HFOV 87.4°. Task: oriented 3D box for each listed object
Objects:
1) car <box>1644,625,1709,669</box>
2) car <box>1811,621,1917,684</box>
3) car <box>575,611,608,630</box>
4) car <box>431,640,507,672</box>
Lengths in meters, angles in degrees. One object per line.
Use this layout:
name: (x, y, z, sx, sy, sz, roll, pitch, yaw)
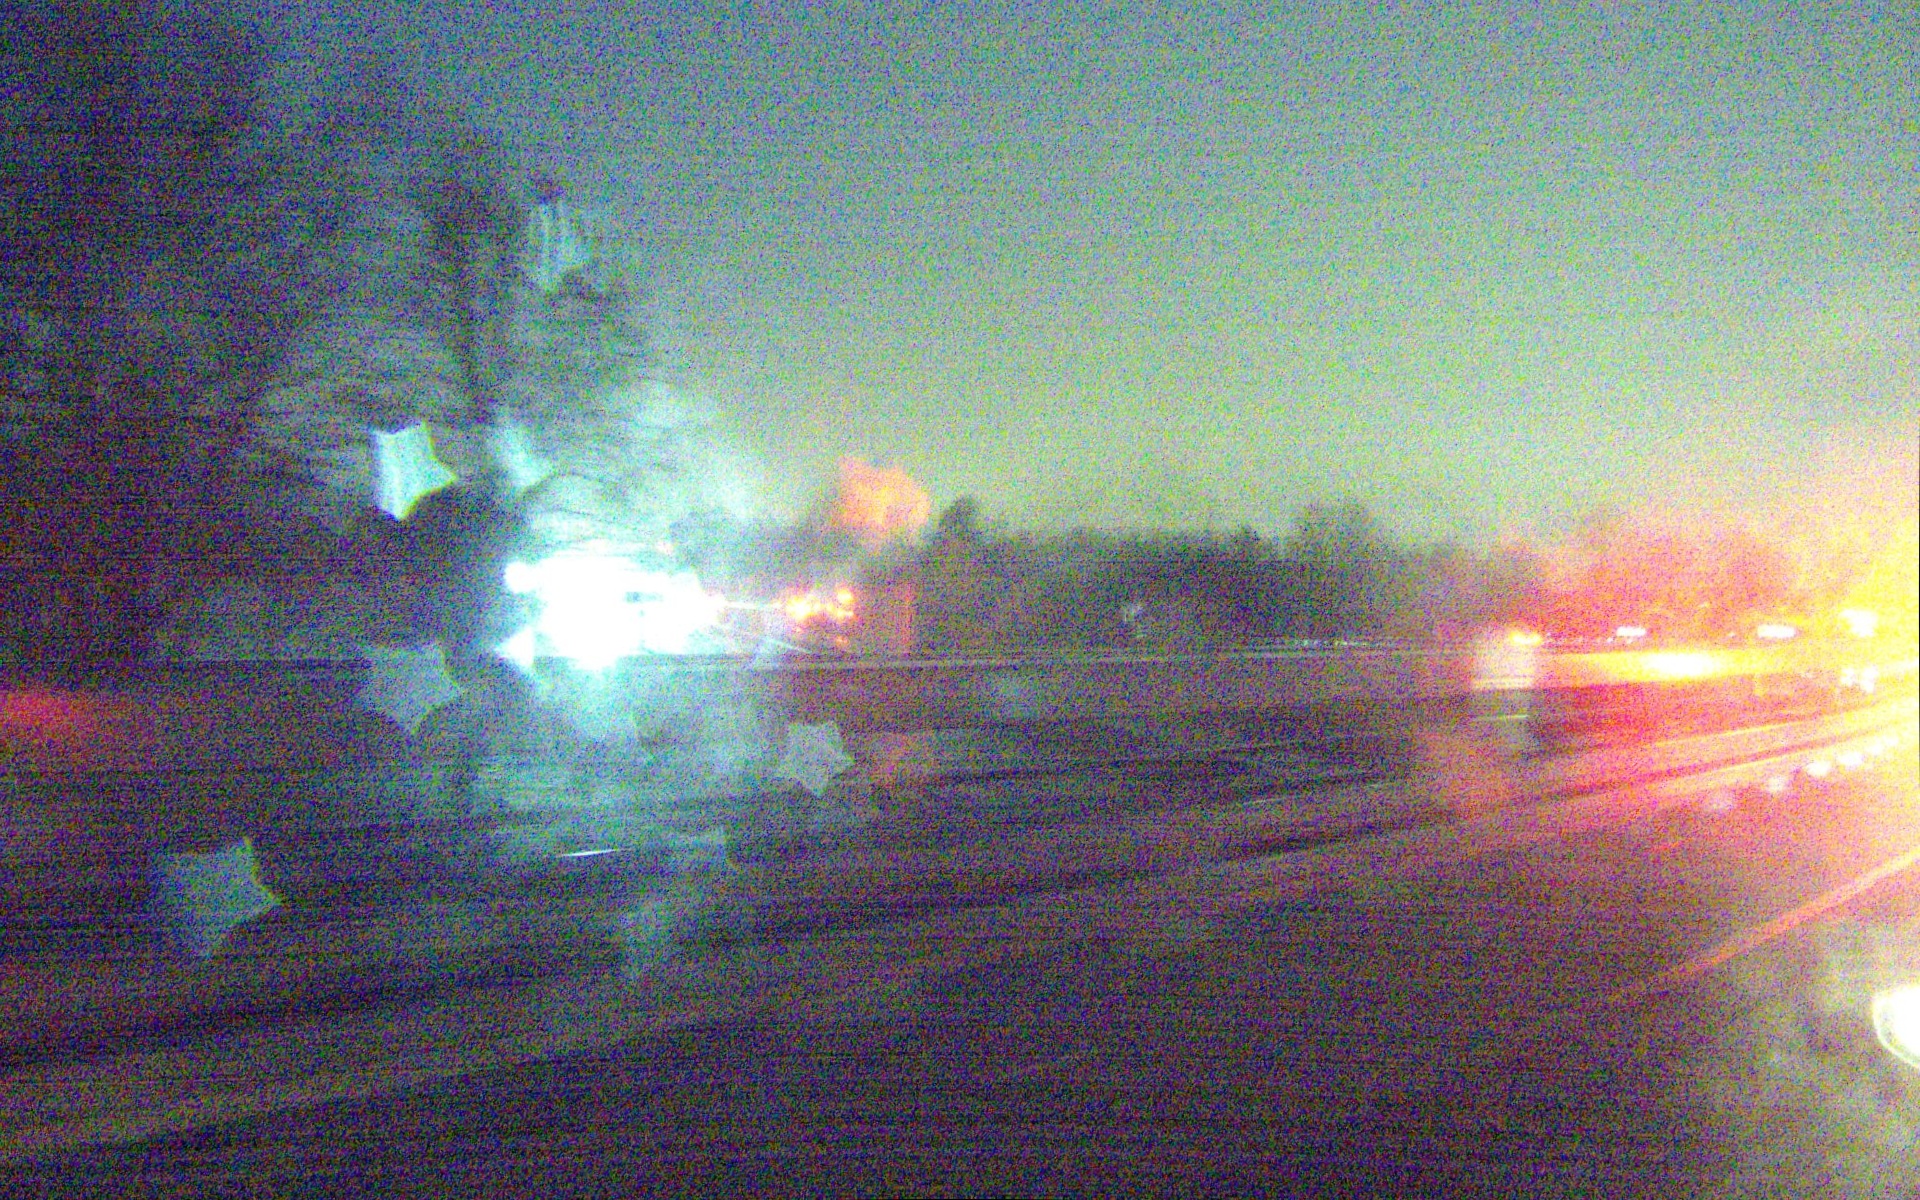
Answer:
car: (36.347, 2.342, 51.026, 1.865, 2.024, 4.043, 1, 0, 24)
car: (32.361, 1.824, 36.076, 1.867, 2.067, 4.039, 2, 0, 28)
car: (-38.130, 2.185, 103.875, 3.777, 1.786, 1.714, -4, -5, 44)
car: (-30.071, 3.401, 61.669, 1.884, 1.775, 4.248, 2, -2, 12)
